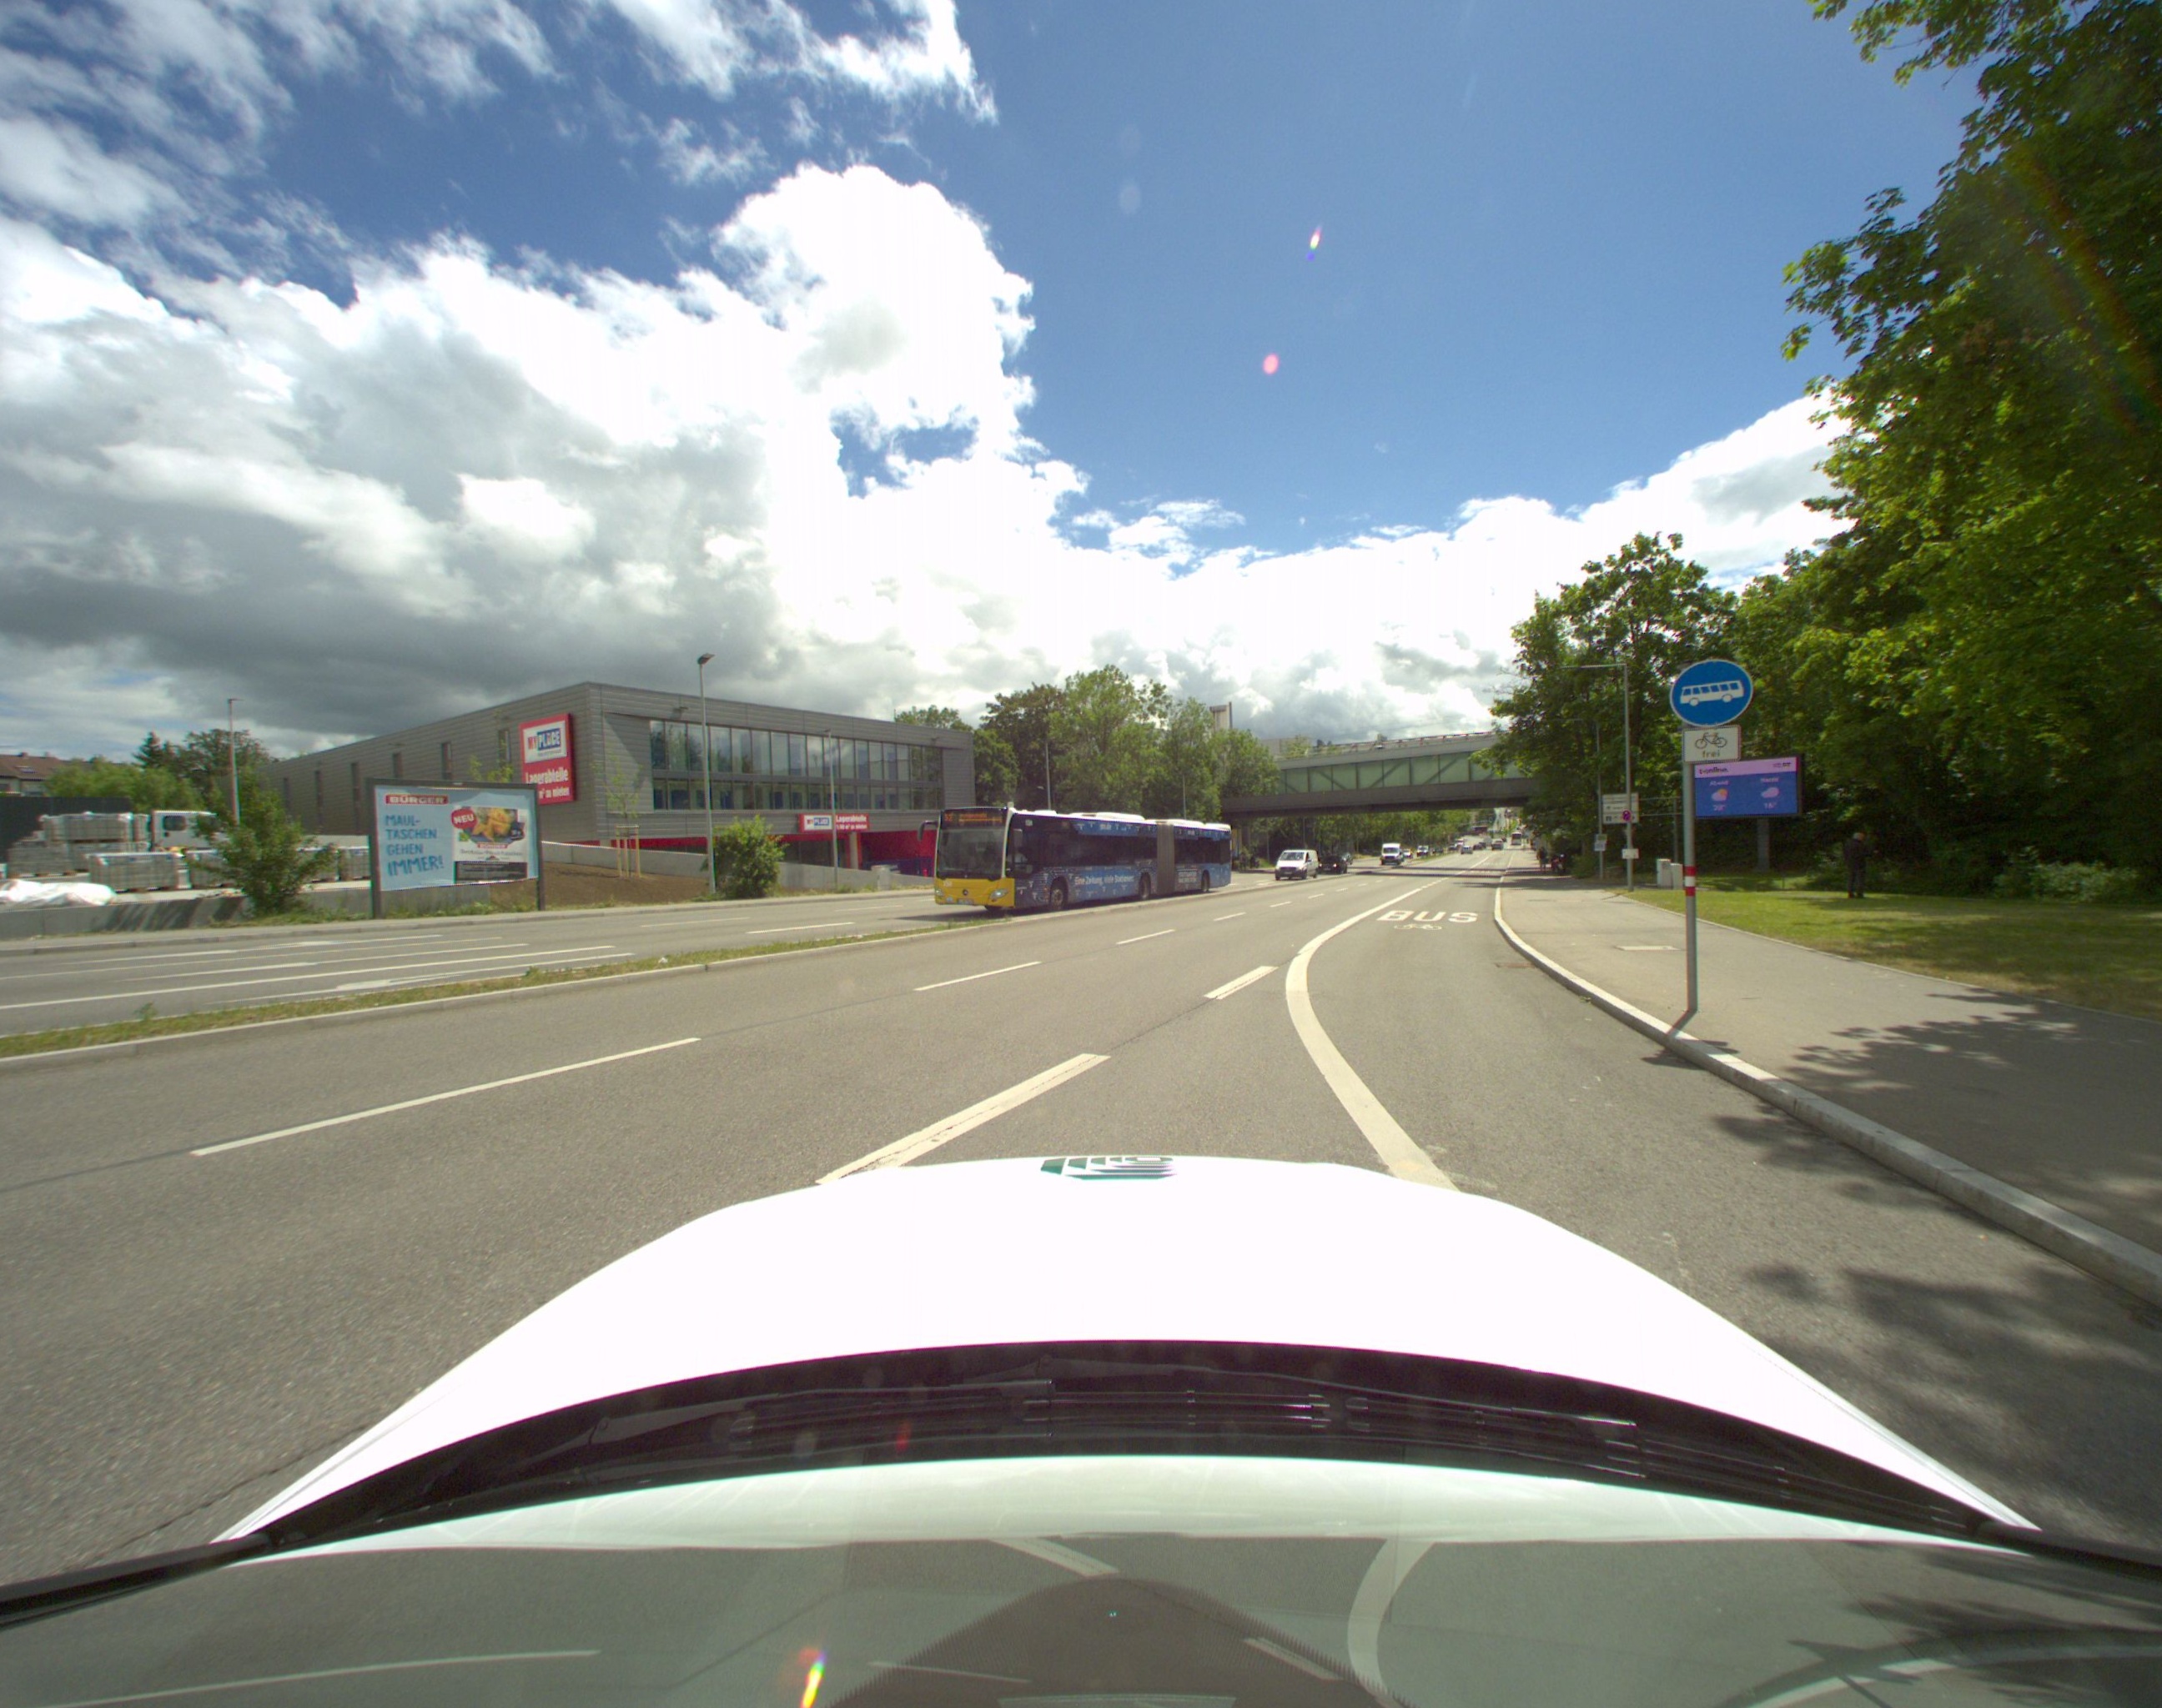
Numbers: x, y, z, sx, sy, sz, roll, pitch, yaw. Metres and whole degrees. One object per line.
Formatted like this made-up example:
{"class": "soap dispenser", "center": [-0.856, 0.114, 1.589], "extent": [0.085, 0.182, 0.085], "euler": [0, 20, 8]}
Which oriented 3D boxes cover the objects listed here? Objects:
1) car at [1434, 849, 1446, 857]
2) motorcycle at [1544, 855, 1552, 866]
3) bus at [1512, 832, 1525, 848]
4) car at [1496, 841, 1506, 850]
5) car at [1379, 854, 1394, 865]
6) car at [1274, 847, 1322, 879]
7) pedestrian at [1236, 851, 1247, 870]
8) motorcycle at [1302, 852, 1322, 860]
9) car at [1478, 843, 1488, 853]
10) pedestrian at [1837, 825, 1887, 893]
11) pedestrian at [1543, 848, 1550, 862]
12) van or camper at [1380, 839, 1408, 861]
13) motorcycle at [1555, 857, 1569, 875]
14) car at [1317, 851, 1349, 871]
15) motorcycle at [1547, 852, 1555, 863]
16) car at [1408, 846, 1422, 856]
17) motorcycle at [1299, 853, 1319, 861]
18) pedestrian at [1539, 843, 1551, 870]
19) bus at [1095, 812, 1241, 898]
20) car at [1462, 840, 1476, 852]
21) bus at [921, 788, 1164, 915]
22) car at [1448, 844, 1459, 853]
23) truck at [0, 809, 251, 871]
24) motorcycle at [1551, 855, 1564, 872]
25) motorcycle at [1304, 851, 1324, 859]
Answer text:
{"class": "car", "center": [70.766, -0.205, 160.494], "extent": [1.684, 1.698, 3.948], "euler": [-1, 0, 29]}
{"class": "motorcycle", "center": [49.154, 0.658, 85.758], "extent": [0.558, 1.029, 2.645], "euler": [-3, 0, 28]}
{"class": "bus", "center": [119.635, -3.891, 222.803], "extent": [2.770, 3.752, 9.529], "euler": [-2, 4, 28]}
{"class": "car", "center": [89.315, -1.885, 173.147], "extent": [1.975, 1.860, 4.024], "euler": [-1, 0, 28]}
{"class": "car", "center": [45.522, 0.782, 121.199], "extent": [1.685, 1.551, 3.947], "euler": [-1, 0, 25]}
{"class": "car", "center": [13.956, 0.525, 52.172], "extent": [1.859, 1.925, 4.780], "euler": [-1, 0, 29]}
{"class": "pedestrian", "center": [14.372, 0.549, 72.844], "extent": [0.718, 1.622, 0.725], "euler": [4, 5, 27]}
{"class": "motorcycle", "center": [30.630, 0.264, 107.983], "extent": [2.527, 1.050, 0.678], "euler": [-1, -1, 35]}
{"class": "car", "center": [86.319, -1.360, 174.926], "extent": [1.840, 1.705, 4.026], "euler": [-2, 5, 27]}
{"class": "pedestrian", "center": [20.813, 0.122, 21.713], "extent": [0.586, 1.717, 0.774], "euler": [-3, 3, 1]}
{"class": "pedestrian", "center": [54.296, 0.119, 94.920], "extent": [0.615, 1.618, 0.751], "euler": [-2, 3, 27]}
{"class": "van or camper", "center": [36.097, -0.466, 93.841], "extent": [1.989, 2.401, 6.438], "euler": [-1, -1, 29]}
{"class": "motorcycle", "center": [29.378, 0.725, 49.761], "extent": [0.542, 1.110, 2.029], "euler": [-2, -1, 25]}
{"class": "car", "center": [19.623, 0.553, 63.368], "extent": [1.621, 1.471, 3.799], "euler": [-1, 0, 29]}
{"class": "motorcycle", "center": [47.211, 0.347, 81.854], "extent": [0.558, 1.029, 2.645], "euler": [-3, 0, 28]}
{"class": "car", "center": [55.832, -0.463, 136.145], "extent": [1.684, 1.698, 3.948], "euler": [-1, 0, 28]}
{"class": "motorcycle", "center": [29.962, 0.358, 106.989], "extent": [2.527, 1.050, 0.678], "euler": [-1, -1, 35]}
{"class": "pedestrian", "center": [32.119, 0.155, 56.383], "extent": [0.617, 1.858, 0.877], "euler": [-2, -2, 27]}
{"class": "bus", "center": [3.981, -0.002, 34.507], "extent": [2.789, 3.164, 8.963], "euler": [-1, 0, 29]}
{"class": "car", "center": [70.065, -1.456, 147.018], "extent": [1.911, 1.771, 4.026], "euler": [-1, 4, 29]}
{"class": "bus", "center": [-0.685, -0.029, 26.187], "extent": [2.789, 3.285, 10.182], "euler": [-1, -1, 29]}
{"class": "car", "center": [84.380, -1.161, 184.419], "extent": [1.974, 2.013, 4.025], "euler": [-2, 0, 29]}
{"class": "truck", "center": [-39.690, -0.671, 34.203], "extent": [1.975, 2.145, 6.622], "euler": [0, 4, 43]}
{"class": "motorcycle", "center": [31.981, 0.660, 54.633], "extent": [0.542, 1.110, 2.029], "euler": [-2, -1, 25]}
{"class": "motorcycle", "center": [31.285, 0.156, 109.247], "extent": [2.527, 1.050, 0.678], "euler": [-1, -1, 35]}
